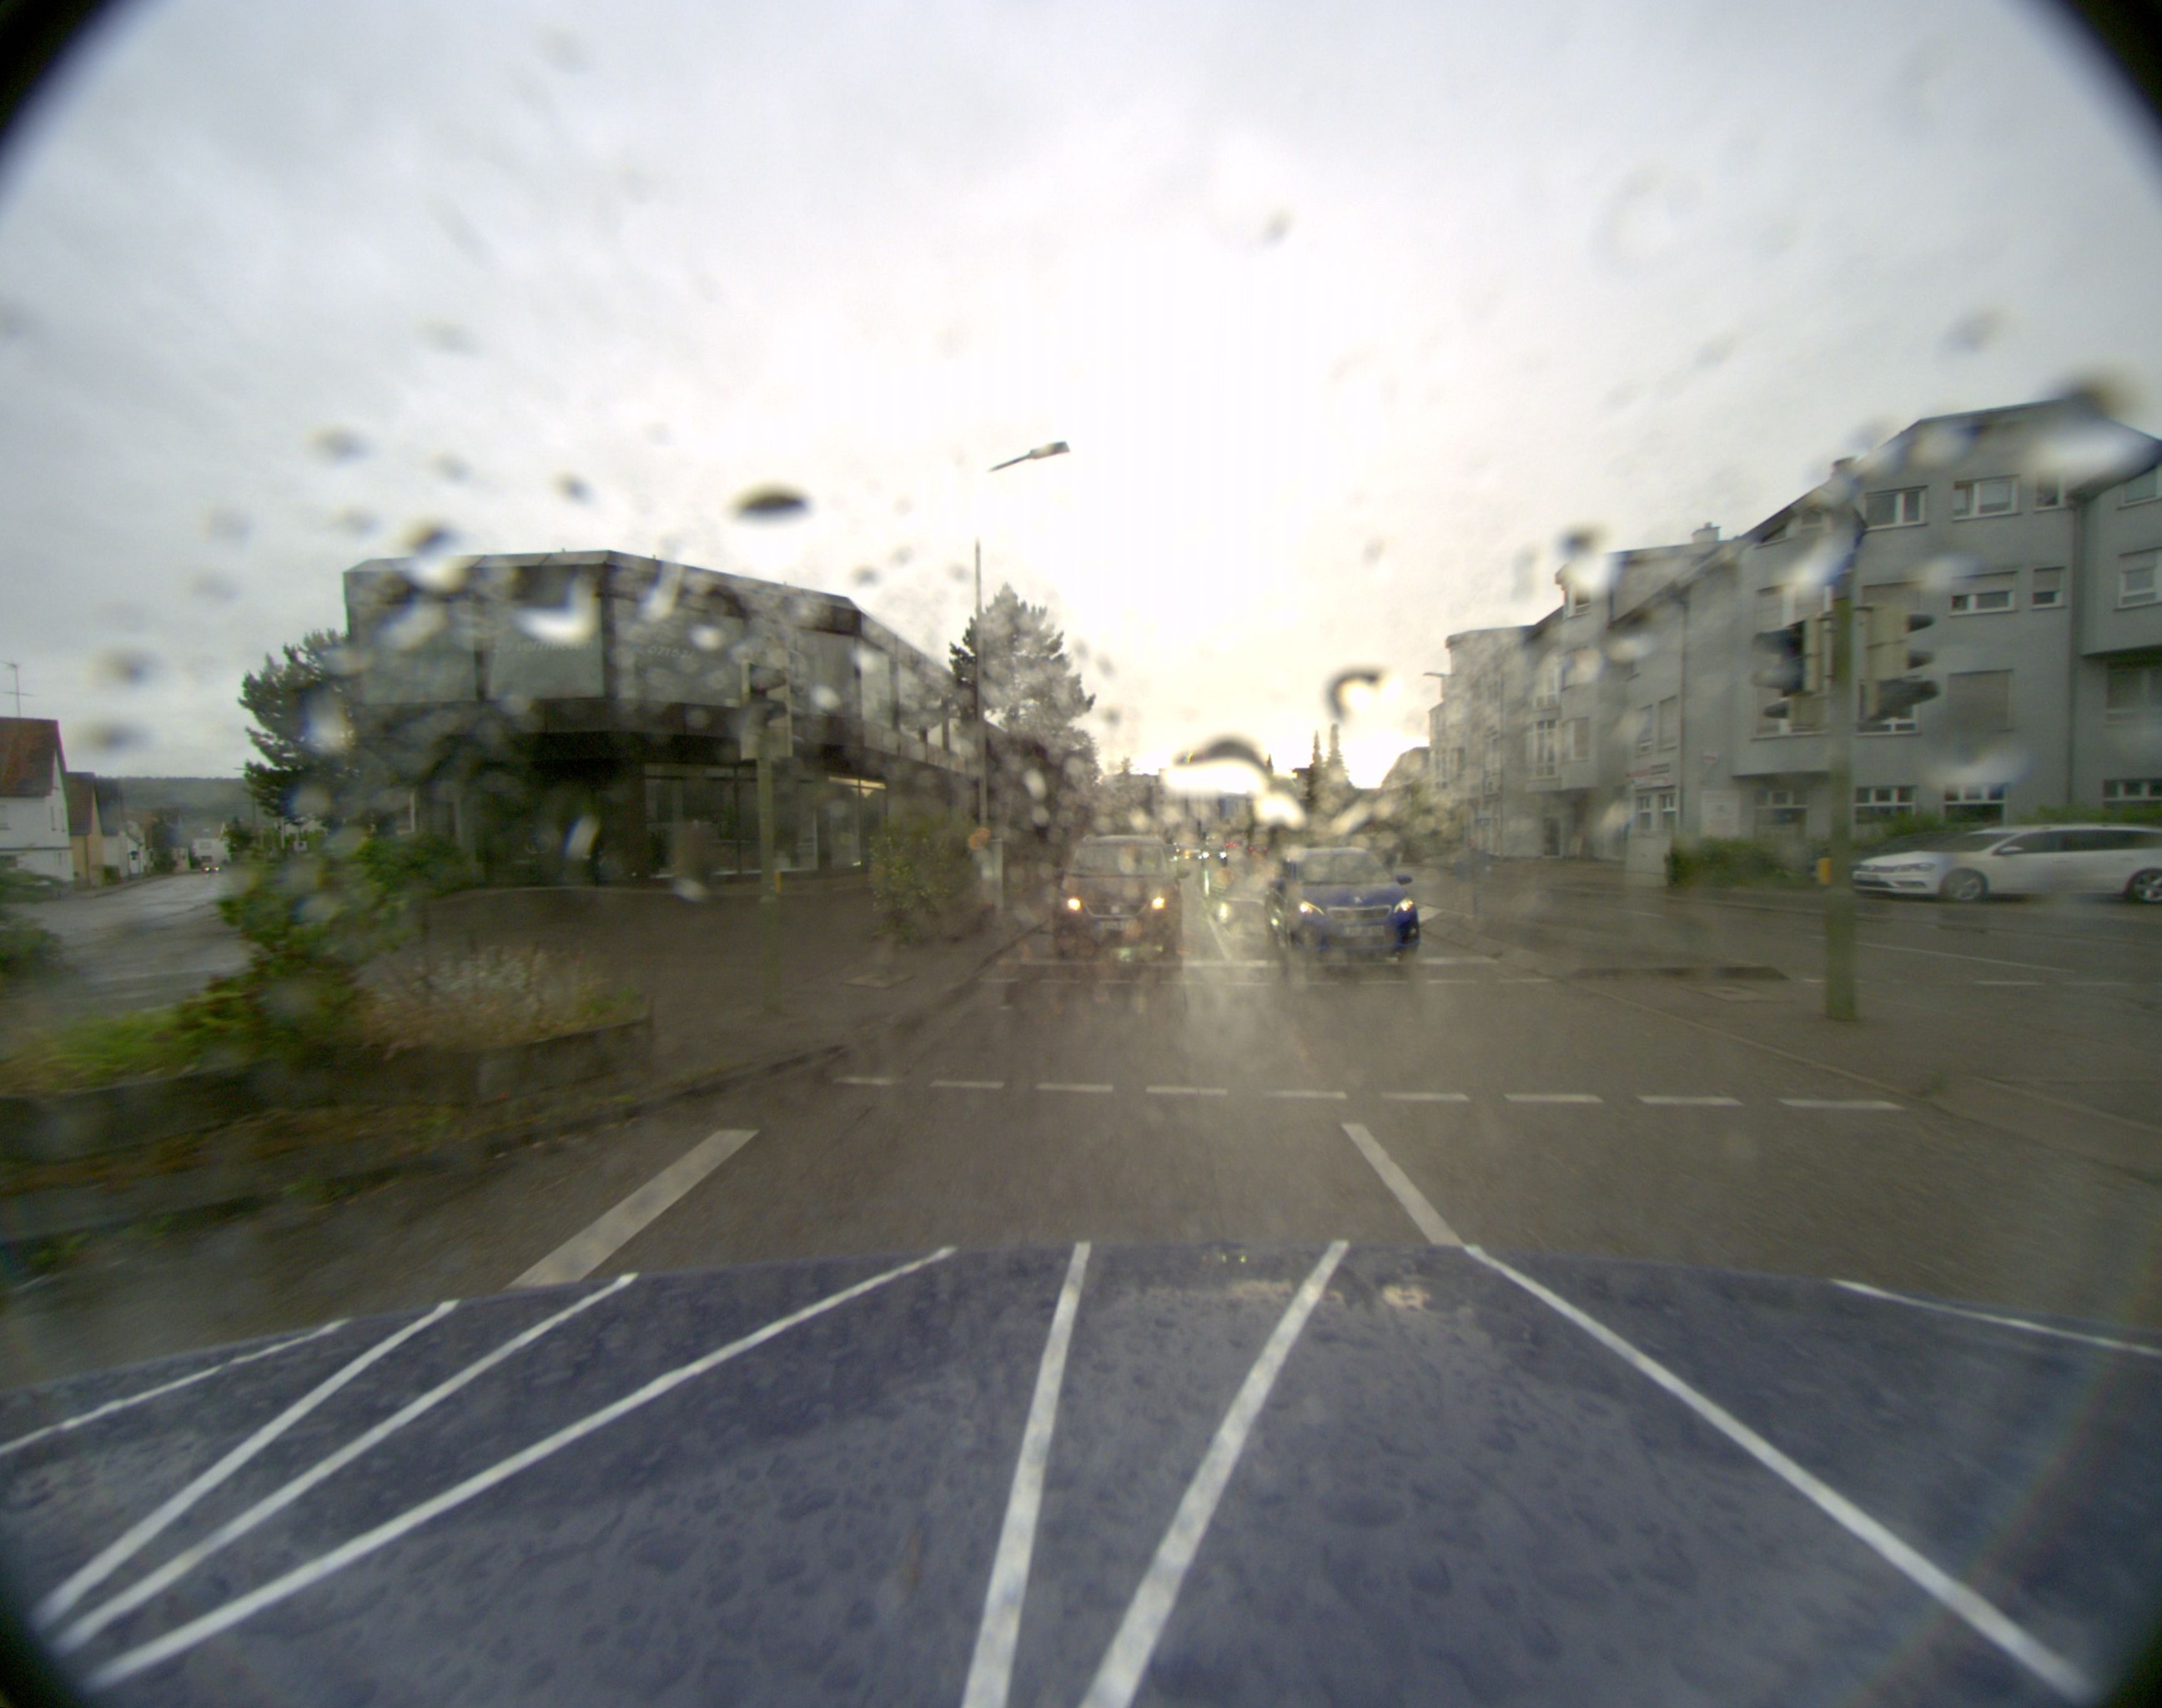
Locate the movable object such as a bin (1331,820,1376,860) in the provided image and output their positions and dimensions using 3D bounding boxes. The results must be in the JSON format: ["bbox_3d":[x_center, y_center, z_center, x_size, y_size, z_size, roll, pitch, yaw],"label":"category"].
[{"bbox_3d":[19.965,-1.019,55.619,2.921,2.825,2.200,-1,1,22],"label":"movable object such as a bin"}]

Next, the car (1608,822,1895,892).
[{"bbox_3d":[17.851,0.081,20.577,5.471,1.674,2.149,-1,1,12],"label":"car"}]

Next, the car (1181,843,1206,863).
[{"bbox_3d":[10.996,-0.148,74.451,1.998,1.849,4.000,0,1,3],"label":"car"}]

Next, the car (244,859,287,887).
[{"bbox_3d":[-61.640,1.398,57.479,2.004,2.002,3.988,-3,2,-45],"label":"car"}]

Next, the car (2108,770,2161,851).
[{"bbox_3d":[28.879,-1.132,18.588,3.989,2.002,2.004,-1,2,32],"label":"car"}]

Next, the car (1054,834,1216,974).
[{"bbox_3d":[0.896,0.600,12.022,1.998,1.739,4.649,-2,1,5],"label":"car"}]

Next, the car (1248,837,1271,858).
[{"bbox_3d":[18.362,-0.682,78.111,1.997,2.002,4.002,-1,1,9],"label":"car"}]

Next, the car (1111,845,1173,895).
[{"bbox_3d":[2.026,0.466,25.302,1.829,1.431,4.345,-2,1,5],"label":"car"}]

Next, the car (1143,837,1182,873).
[{"bbox_3d":[4.474,0.005,41.339,1.997,1.849,4.002,0,1,8],"label":"car"}]

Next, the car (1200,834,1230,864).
[{"bbox_3d":[9.546,-0.378,53.960,1.997,2.002,4.003,-1,1,10],"label":"car"}]

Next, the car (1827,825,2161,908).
[{"bbox_3d":[18.335,0.241,15.136,4.618,1.488,1.931,-1,1,14],"label":"car"}]

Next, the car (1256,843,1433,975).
[{"bbox_3d":[3.574,0.653,10.889,1.651,1.547,3.352,-2,1,6],"label":"car"}]

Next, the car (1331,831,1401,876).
[{"bbox_3d":[12.831,-0.056,34.530,2.101,1.822,4.736,-2,1,9],"label":"car"}]
